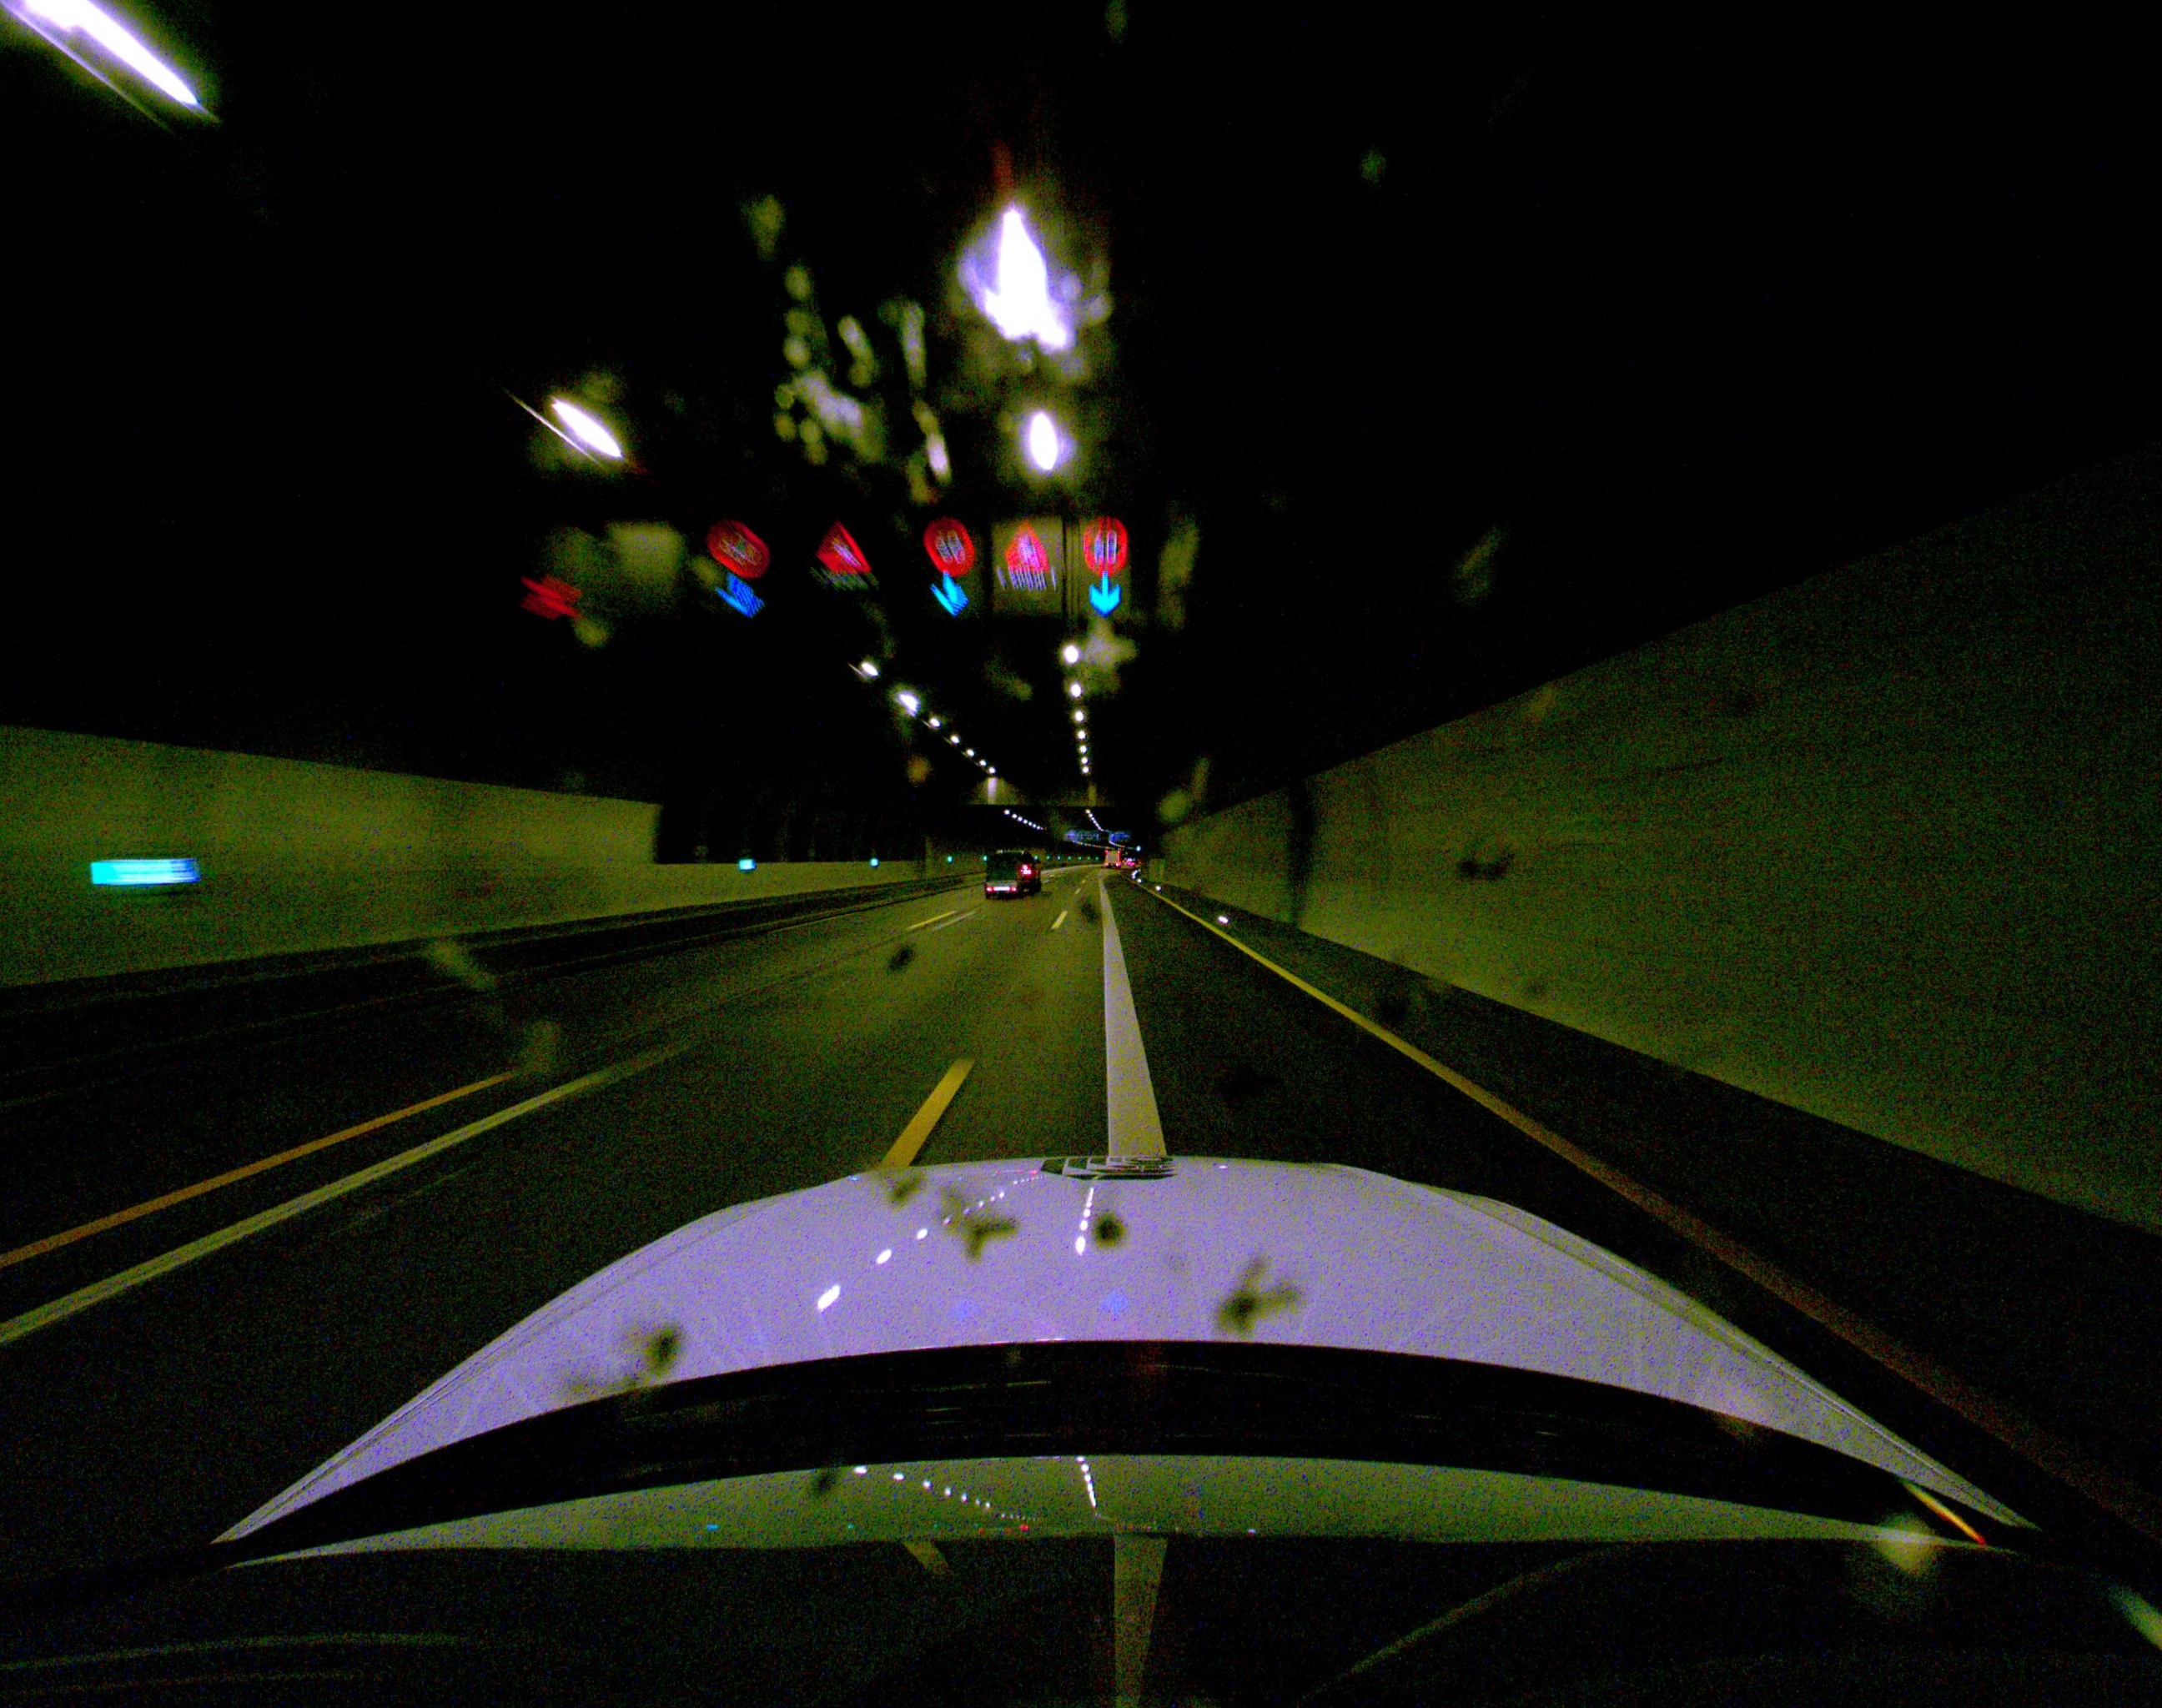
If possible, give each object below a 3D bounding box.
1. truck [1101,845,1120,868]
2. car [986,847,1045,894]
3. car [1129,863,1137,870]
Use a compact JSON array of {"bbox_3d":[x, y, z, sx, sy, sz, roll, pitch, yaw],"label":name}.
[{"bbox_3d":[5.879,0.376,162.544,3.462,4.316,10.954,-1,0,1],"label":"truck"},{"bbox_3d":[-2.848,0.780,36.705,1.986,1.895,5.455,-2,-2,2],"label":"car"},{"bbox_3d":[14.186,3.426,222.680,1.983,1.895,5.542,-2,0,6],"label":"car"}]
